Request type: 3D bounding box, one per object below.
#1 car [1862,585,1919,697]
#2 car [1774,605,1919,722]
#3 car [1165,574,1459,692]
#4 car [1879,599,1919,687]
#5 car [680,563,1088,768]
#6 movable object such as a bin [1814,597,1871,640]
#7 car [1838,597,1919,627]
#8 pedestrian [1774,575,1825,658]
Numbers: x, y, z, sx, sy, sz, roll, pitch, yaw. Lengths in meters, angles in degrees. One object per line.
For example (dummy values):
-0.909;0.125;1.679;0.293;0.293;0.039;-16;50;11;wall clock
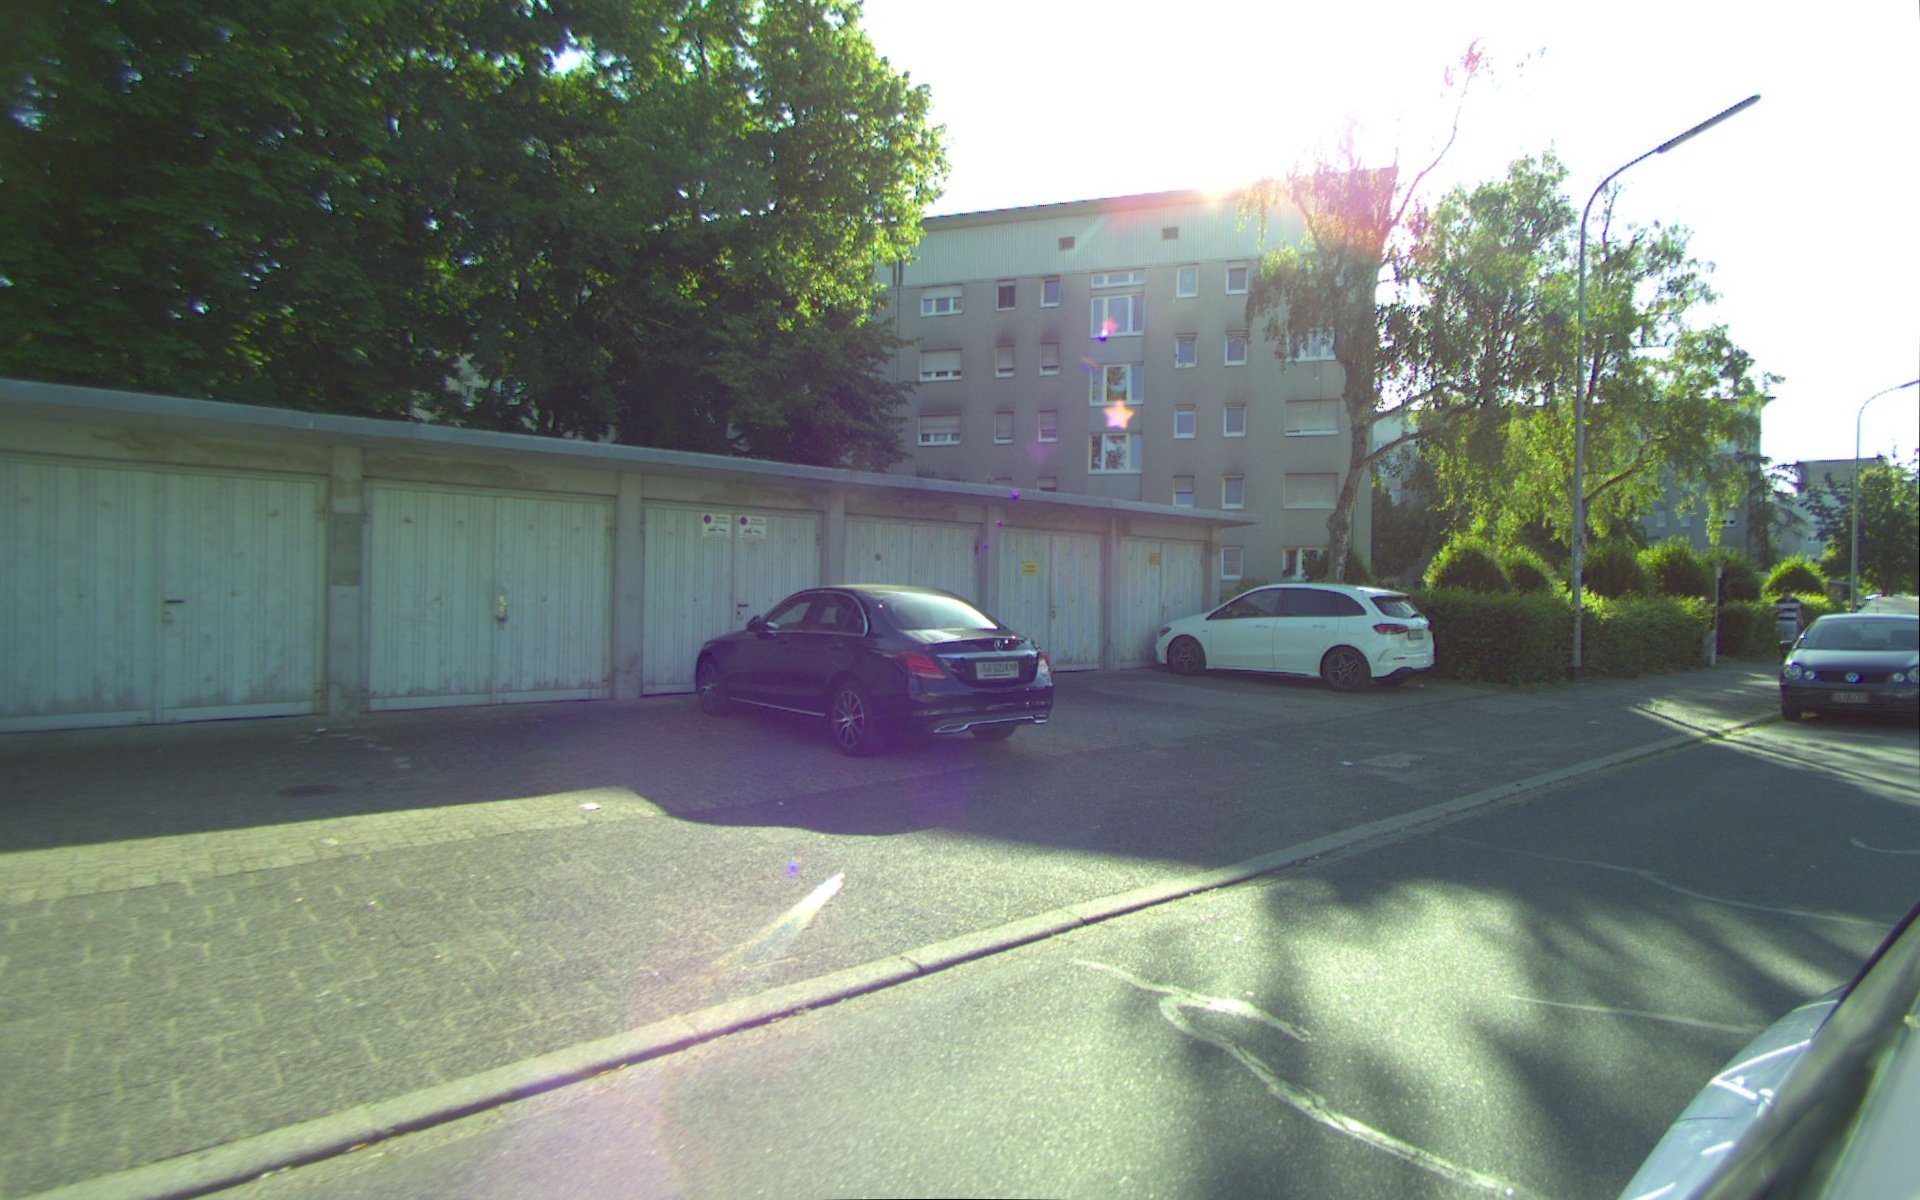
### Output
15.907;0.637;16.479;2.538;1.740;1.491;0;-1;-41;car
12.733;0.780;14.004;3.829;1.421;1.733;0;-1;-43;car
5.383;0.413;15.828;1.798;1.532;3.948;0;2;-42;car
17.903;0.758;18.311;2.510;1.543;1.419;0;-1;-36;car
-1.000;0.436;10.012;1.795;1.532;4.525;1;2;-38;car
29.760;0.617;34.132;1.112;1.382;1.227;0;1;-36;movable object such as a bin
47.608;0.599;51.535;1.787;1.513;4.187;1;0;-42;car
20.084;0.389;24.215;0.857;1.911;0.705;1;2;-39;pedestrian
